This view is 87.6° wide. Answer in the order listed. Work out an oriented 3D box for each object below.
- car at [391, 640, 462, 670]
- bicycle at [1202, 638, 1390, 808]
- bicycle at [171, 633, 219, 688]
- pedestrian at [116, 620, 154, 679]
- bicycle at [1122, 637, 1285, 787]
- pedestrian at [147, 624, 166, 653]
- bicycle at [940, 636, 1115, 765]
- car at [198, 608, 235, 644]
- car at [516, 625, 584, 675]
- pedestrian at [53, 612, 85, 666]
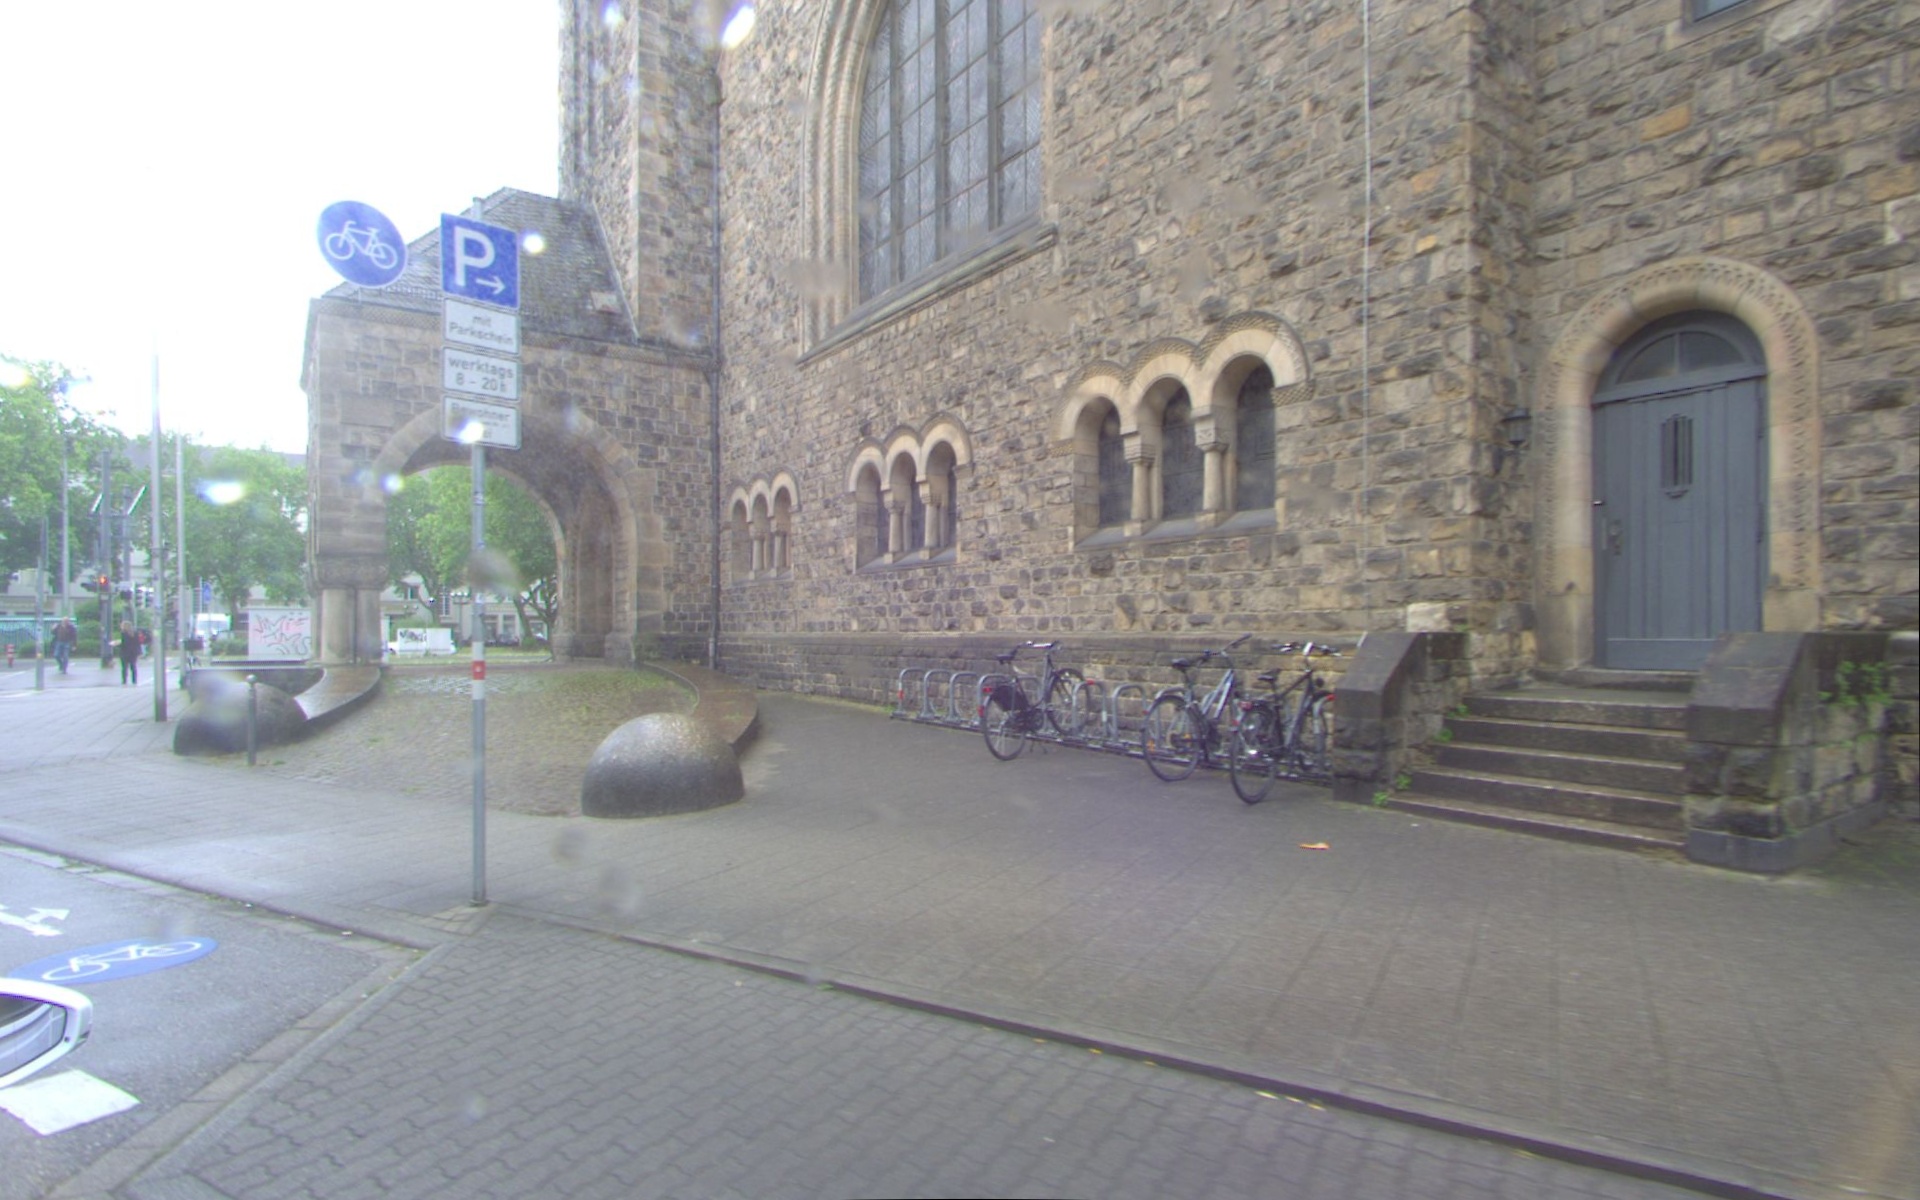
[{"bbox_3d":[-29.752,3.066,55.859,3.401,1.572,1.584,1,-1,-33],"label":"car"},{"bbox_3d":[2.624,0.868,7.676,1.971,1.068,0.507,-1,0,-45],"label":"bicycle"},{"bbox_3d":[-17.137,1.335,22.420,2.049,1.169,0.327,-1,-1,38],"label":"bicycle"},{"bbox_3d":[-23.795,1.414,28.883,0.648,1.667,0.778,0,0,44],"label":"pedestrian"},{"bbox_3d":[2.167,0.925,8.784,1.697,1.126,0.556,-2,0,-45],"label":"bicycle"},{"bbox_3d":[-44.201,2.120,55.078,0.666,1.573,0.758,0,-2,-30],"label":"pedestrian"},{"bbox_3d":[0.736,0.972,10.265,0.684,1.119,1.973,-1,0,43],"label":"bicycle"},{"bbox_3d":[-54.156,1.901,72.971,1.888,2.588,4.757,1,-1,-34],"label":"car"},{"bbox_3d":[-13.224,1.571,32.231,1.389,1.498,3.200,1,-2,-34],"label":"car"},{"bbox_3d":[-29.787,1.279,33.460,0.780,1.782,0.936,0,0,-43],"label":"pedestrian"}]
